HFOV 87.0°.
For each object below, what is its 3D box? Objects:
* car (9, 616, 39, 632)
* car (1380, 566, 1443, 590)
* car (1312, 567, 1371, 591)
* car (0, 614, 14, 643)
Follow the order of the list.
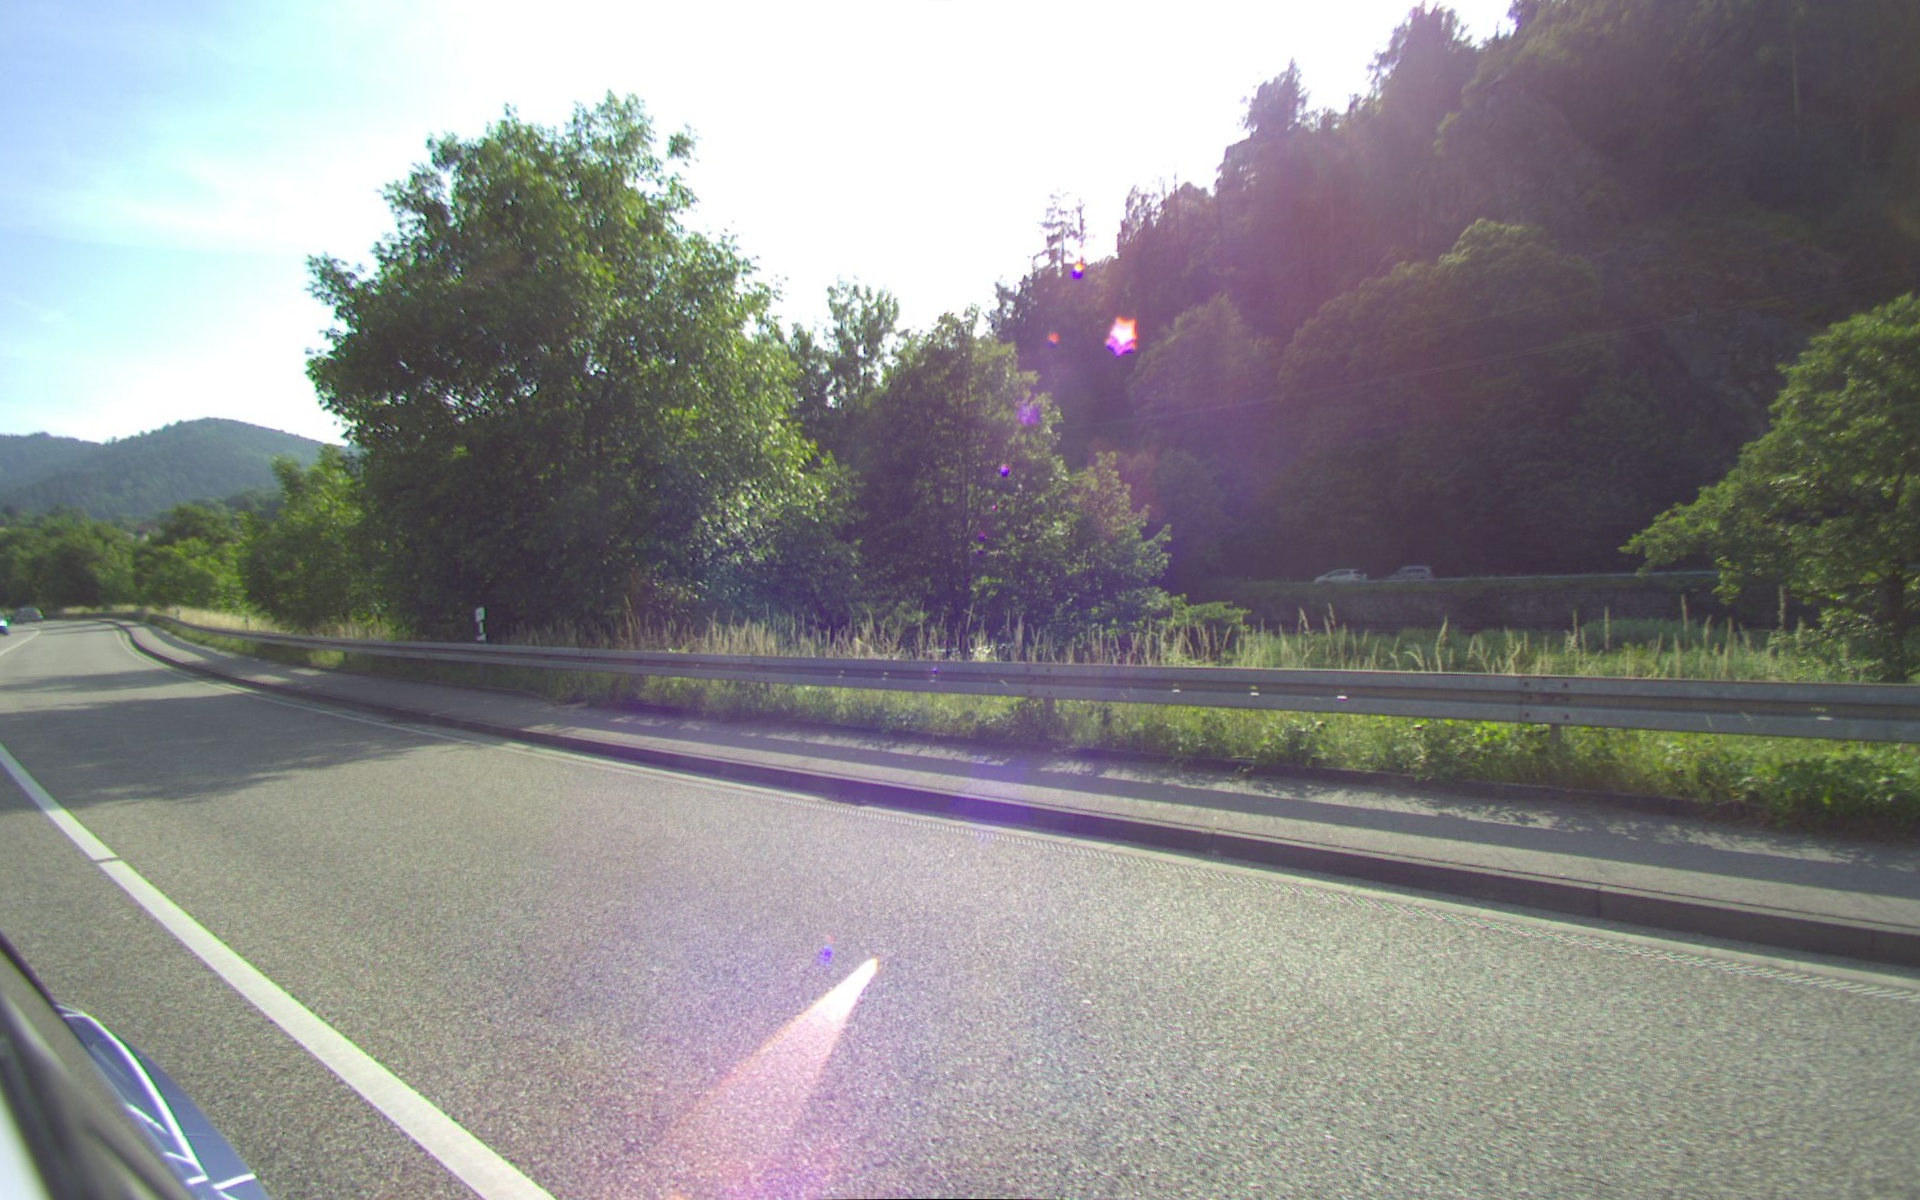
[{"bbox_3d":[-90.771,2.344,98.126,3.995,1.490,1.562,-1,-1,39],"label":"car"},{"bbox_3d":[34.679,-1.672,77.805,4.000,1.678,1.850,-1,4,43],"label":"car"},{"bbox_3d":[30.783,-1.705,81.703,4.000,1.745,1.850,-1,4,43],"label":"car"},{"bbox_3d":[-59.933,1.745,62.408,1.855,1.758,4.188,0,-1,-36],"label":"car"}]
